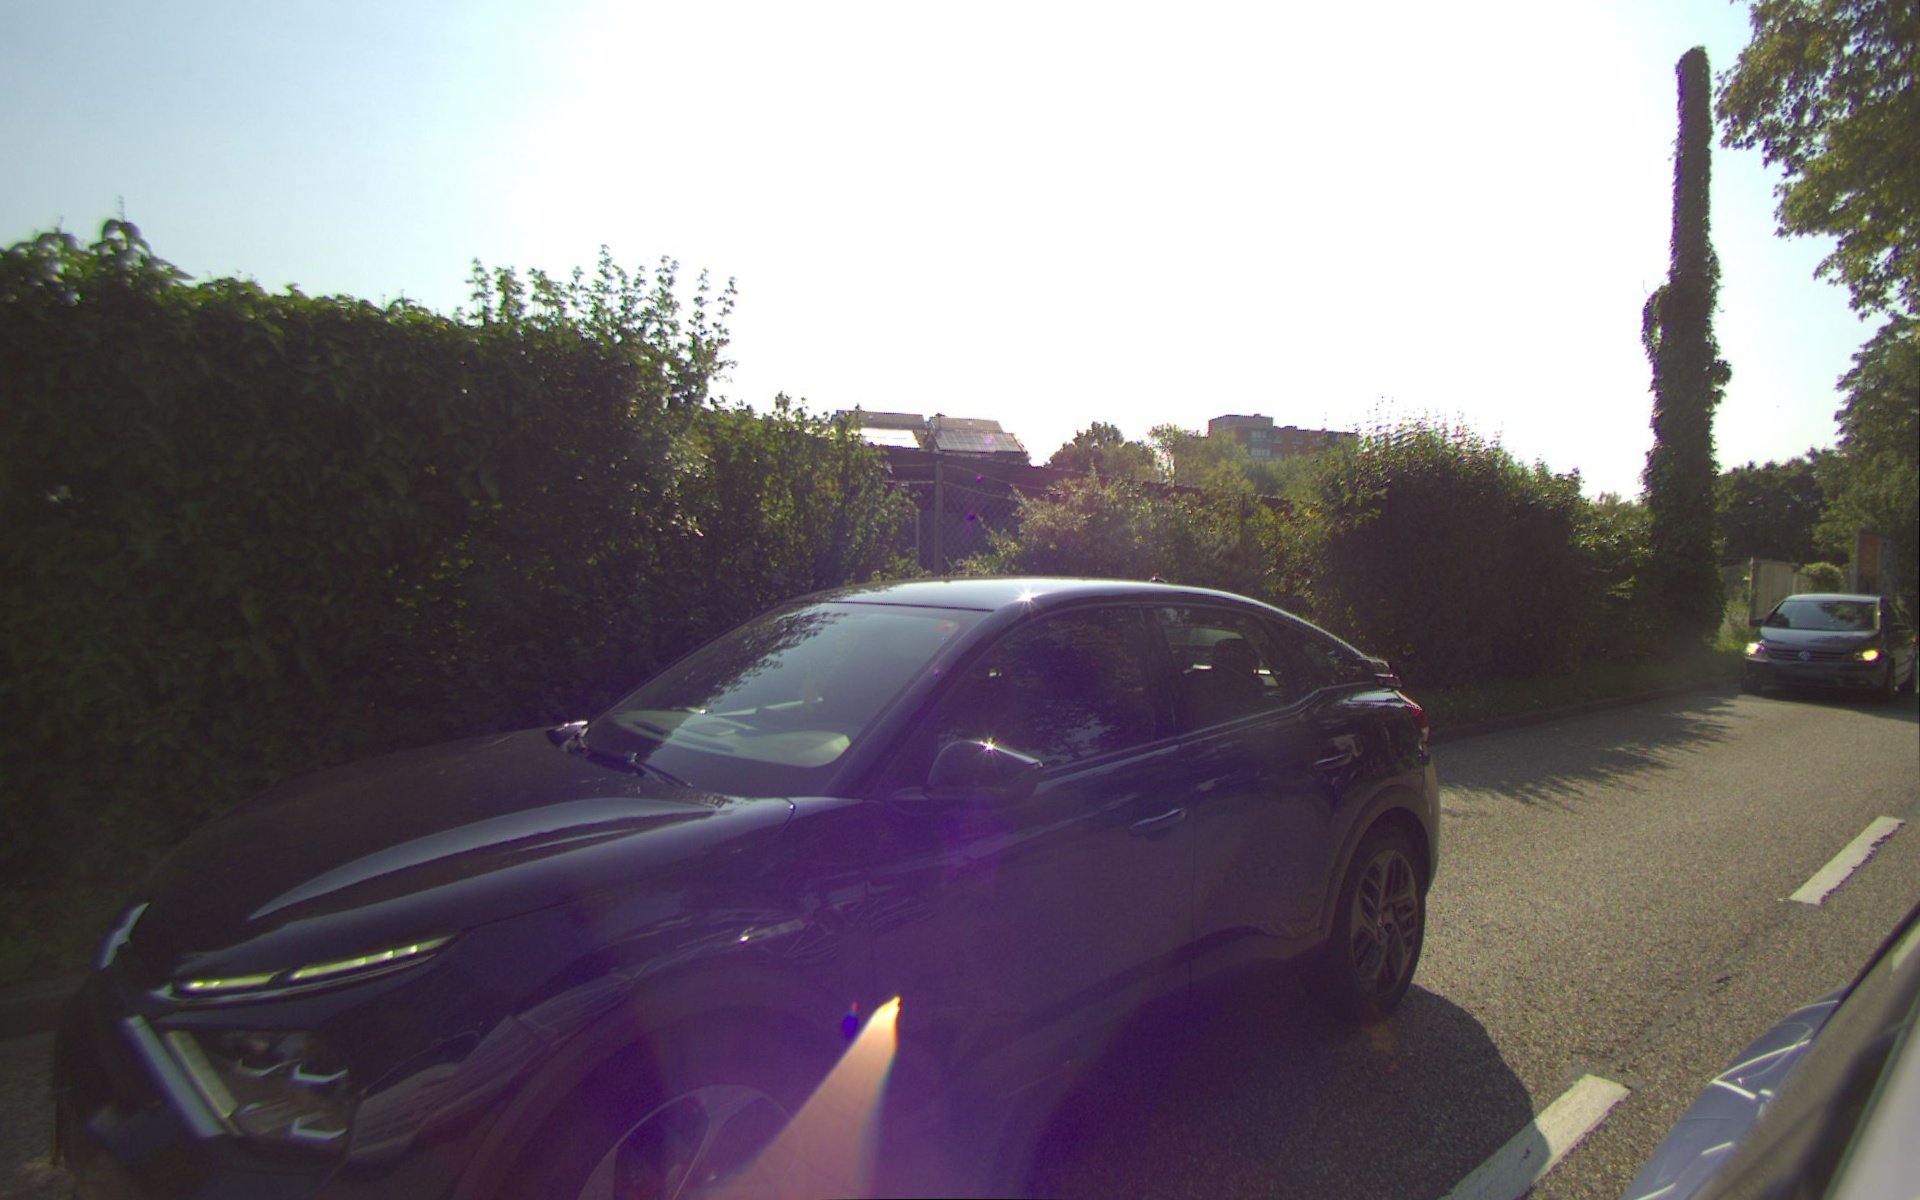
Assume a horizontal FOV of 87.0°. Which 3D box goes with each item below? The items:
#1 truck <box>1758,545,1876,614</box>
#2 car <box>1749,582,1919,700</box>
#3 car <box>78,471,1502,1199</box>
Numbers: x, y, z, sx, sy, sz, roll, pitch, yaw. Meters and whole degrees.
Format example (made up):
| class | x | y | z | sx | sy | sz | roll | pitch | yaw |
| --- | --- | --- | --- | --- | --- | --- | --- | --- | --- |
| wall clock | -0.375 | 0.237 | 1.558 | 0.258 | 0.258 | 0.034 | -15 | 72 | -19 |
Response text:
| class | x | y | z | sx | sy | sz | roll | pitch | yaw |
| --- | --- | --- | --- | --- | --- | --- | --- | --- | --- |
| truck | 30.723 | -0.730 | 36.187 | 6.788 | 2.260 | 1.919 | -1 | 1 | -39 |
| car | 13.817 | 0.529 | 15.748 | 3.830 | 1.576 | 1.649 | -1 | 2 | -40 |
| car | -0.011 | 0.587 | 3.222 | 4.180 | 1.607 | 1.648 | -1 | 3 | -41 |
